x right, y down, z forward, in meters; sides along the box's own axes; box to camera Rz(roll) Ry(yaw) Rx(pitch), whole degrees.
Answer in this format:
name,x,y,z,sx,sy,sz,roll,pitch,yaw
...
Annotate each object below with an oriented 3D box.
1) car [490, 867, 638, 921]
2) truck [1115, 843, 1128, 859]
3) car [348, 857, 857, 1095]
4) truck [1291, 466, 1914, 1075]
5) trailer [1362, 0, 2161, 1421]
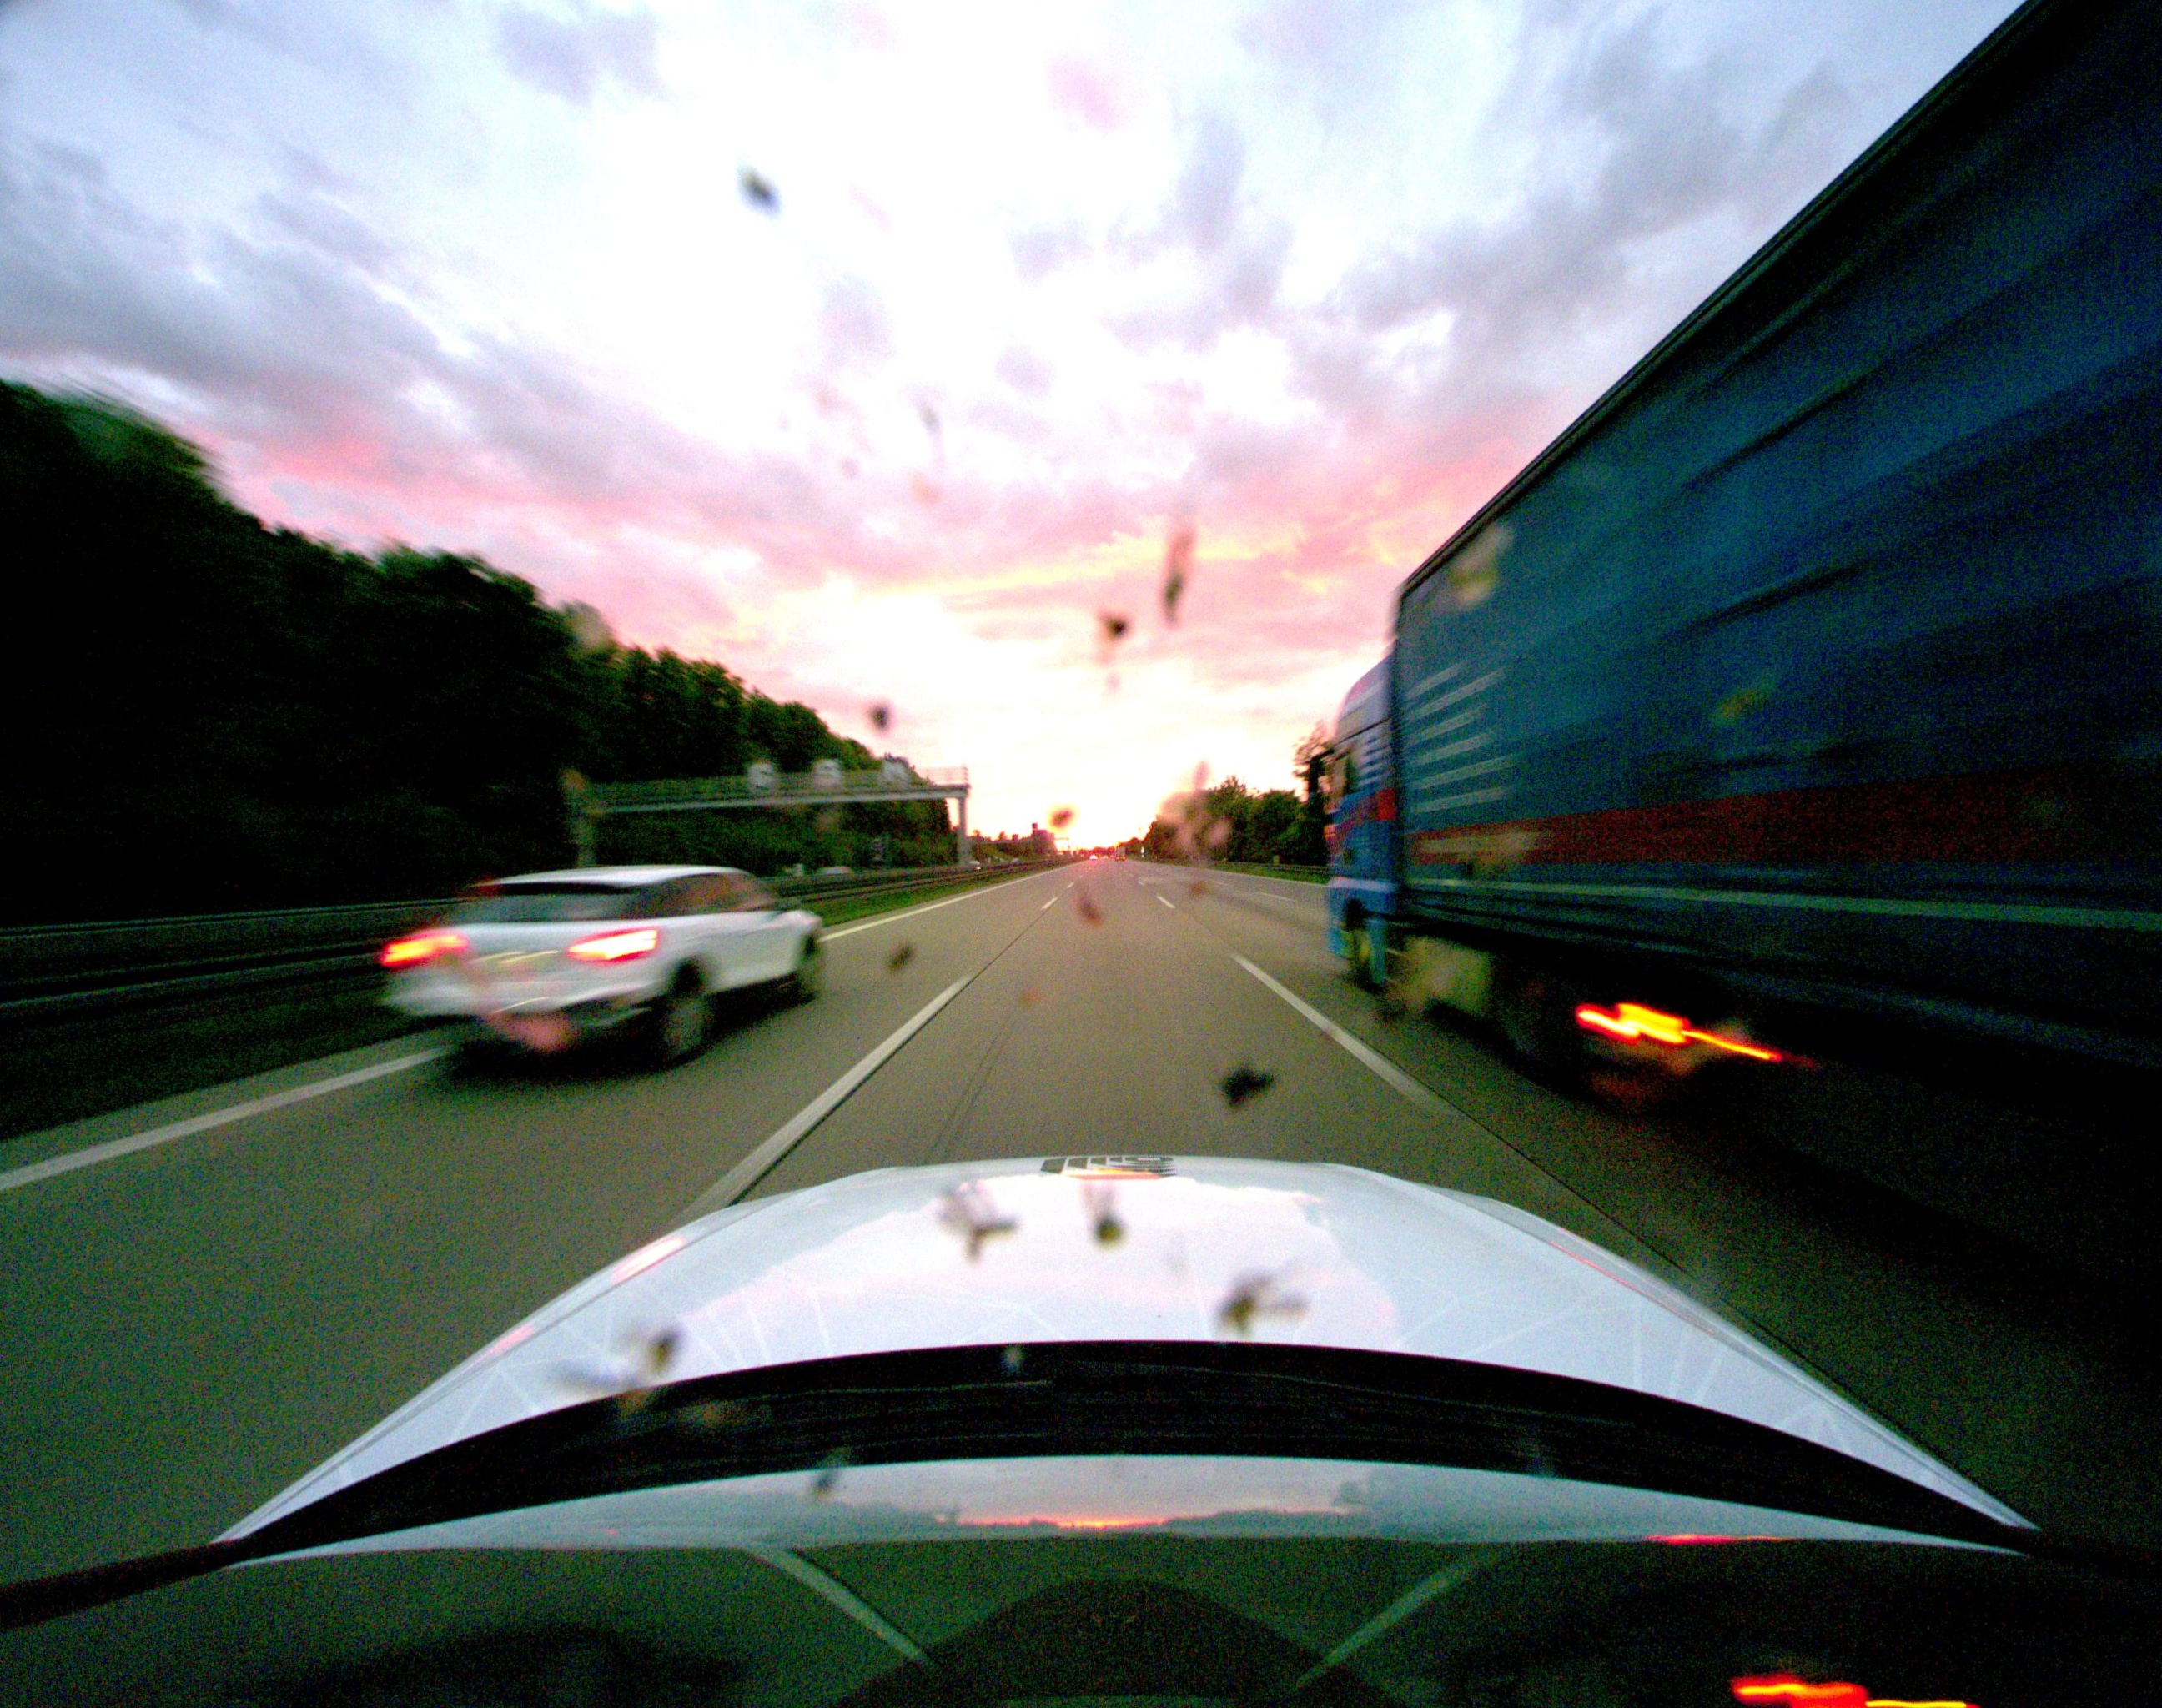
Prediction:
name,x,y,z,sx,sy,sz,roll,pitch,yaw
car,-19.317,1.430,30.815,1.842,1.734,5.662,-1,0,1
truck,11.342,-0.815,228.516,3.232,4.127,9.790,-2,-1,2
car,-3.776,0.793,7.764,1.783,1.501,5.039,-1,0,1
truck,4.192,-0.535,8.320,2.726,3.996,5.852,-1,0,2
trailer,3.994,-0.670,1.090,2.761,4.086,13.743,-1,0,1
